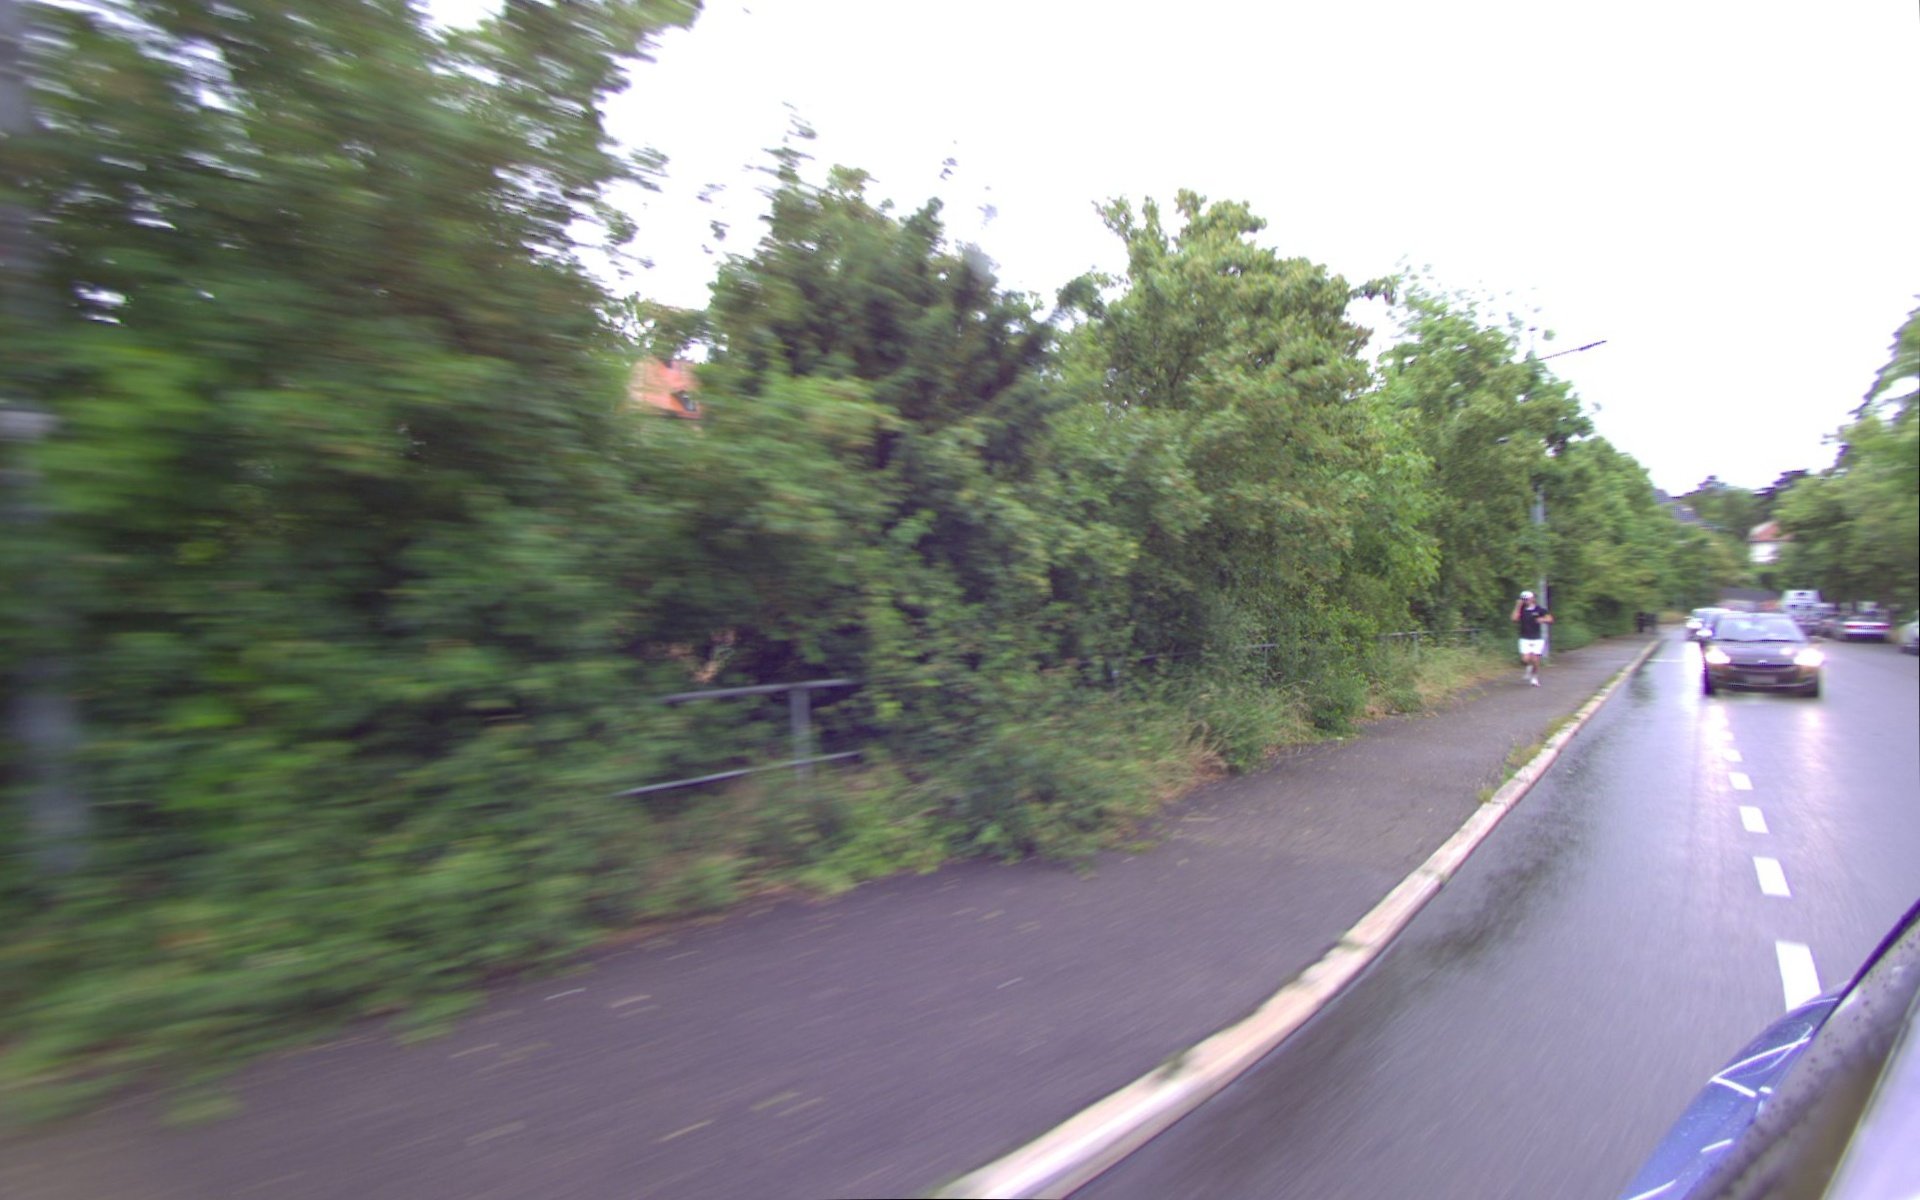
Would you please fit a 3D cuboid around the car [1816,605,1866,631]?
[{"bbox_3d":[52.389,1.054,60.256,1.990,1.423,4.648,1,1,39],"label":"car"}]

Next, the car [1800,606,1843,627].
[{"bbox_3d":[58.858,1.154,69.203,1.989,1.325,5.281,2,0,38],"label":"car"}]

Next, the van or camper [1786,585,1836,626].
[{"bbox_3d":[65.529,0.376,78.004,2.499,3.065,6.474,1,1,37],"label":"van or camper"}]

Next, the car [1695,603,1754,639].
[{"bbox_3d":[37.192,0.997,49.206,2.024,1.649,4.165,0,0,41],"label":"car"}]

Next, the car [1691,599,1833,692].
[{"bbox_3d":[15.021,0.774,19.158,1.793,1.444,4.329,-1,1,35],"label":"car"}]

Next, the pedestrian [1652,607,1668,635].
[{"bbox_3d":[41.313,1.245,59.735,0.478,1.585,0.554,1,3,-37],"label":"pedestrian"}]

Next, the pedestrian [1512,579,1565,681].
[{"bbox_3d":[10.943,0.544,19.130,0.715,1.858,1.007,1,0,38],"label":"pedestrian"}]

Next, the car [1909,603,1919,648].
[{"bbox_3d":[32.595,0.849,33.233,1.685,1.456,4.197,0,0,38],"label":"car"}]

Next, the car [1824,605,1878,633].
[{"bbox_3d":[49.729,1.043,56.567,1.990,1.423,4.648,1,1,39],"label":"car"}]

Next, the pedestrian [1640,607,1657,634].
[{"bbox_3d":[41.027,1.213,60.324,0.656,1.585,0.598,-1,3,-30],"label":"pedestrian"}]

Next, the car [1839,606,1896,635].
[{"bbox_3d":[46.718,1.038,52.160,1.589,1.379,3.952,0,0,34],"label":"car"}]

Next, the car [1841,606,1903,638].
[{"bbox_3d":[43.674,1.004,48.521,1.749,1.420,4.361,0,0,36],"label":"car"}]
